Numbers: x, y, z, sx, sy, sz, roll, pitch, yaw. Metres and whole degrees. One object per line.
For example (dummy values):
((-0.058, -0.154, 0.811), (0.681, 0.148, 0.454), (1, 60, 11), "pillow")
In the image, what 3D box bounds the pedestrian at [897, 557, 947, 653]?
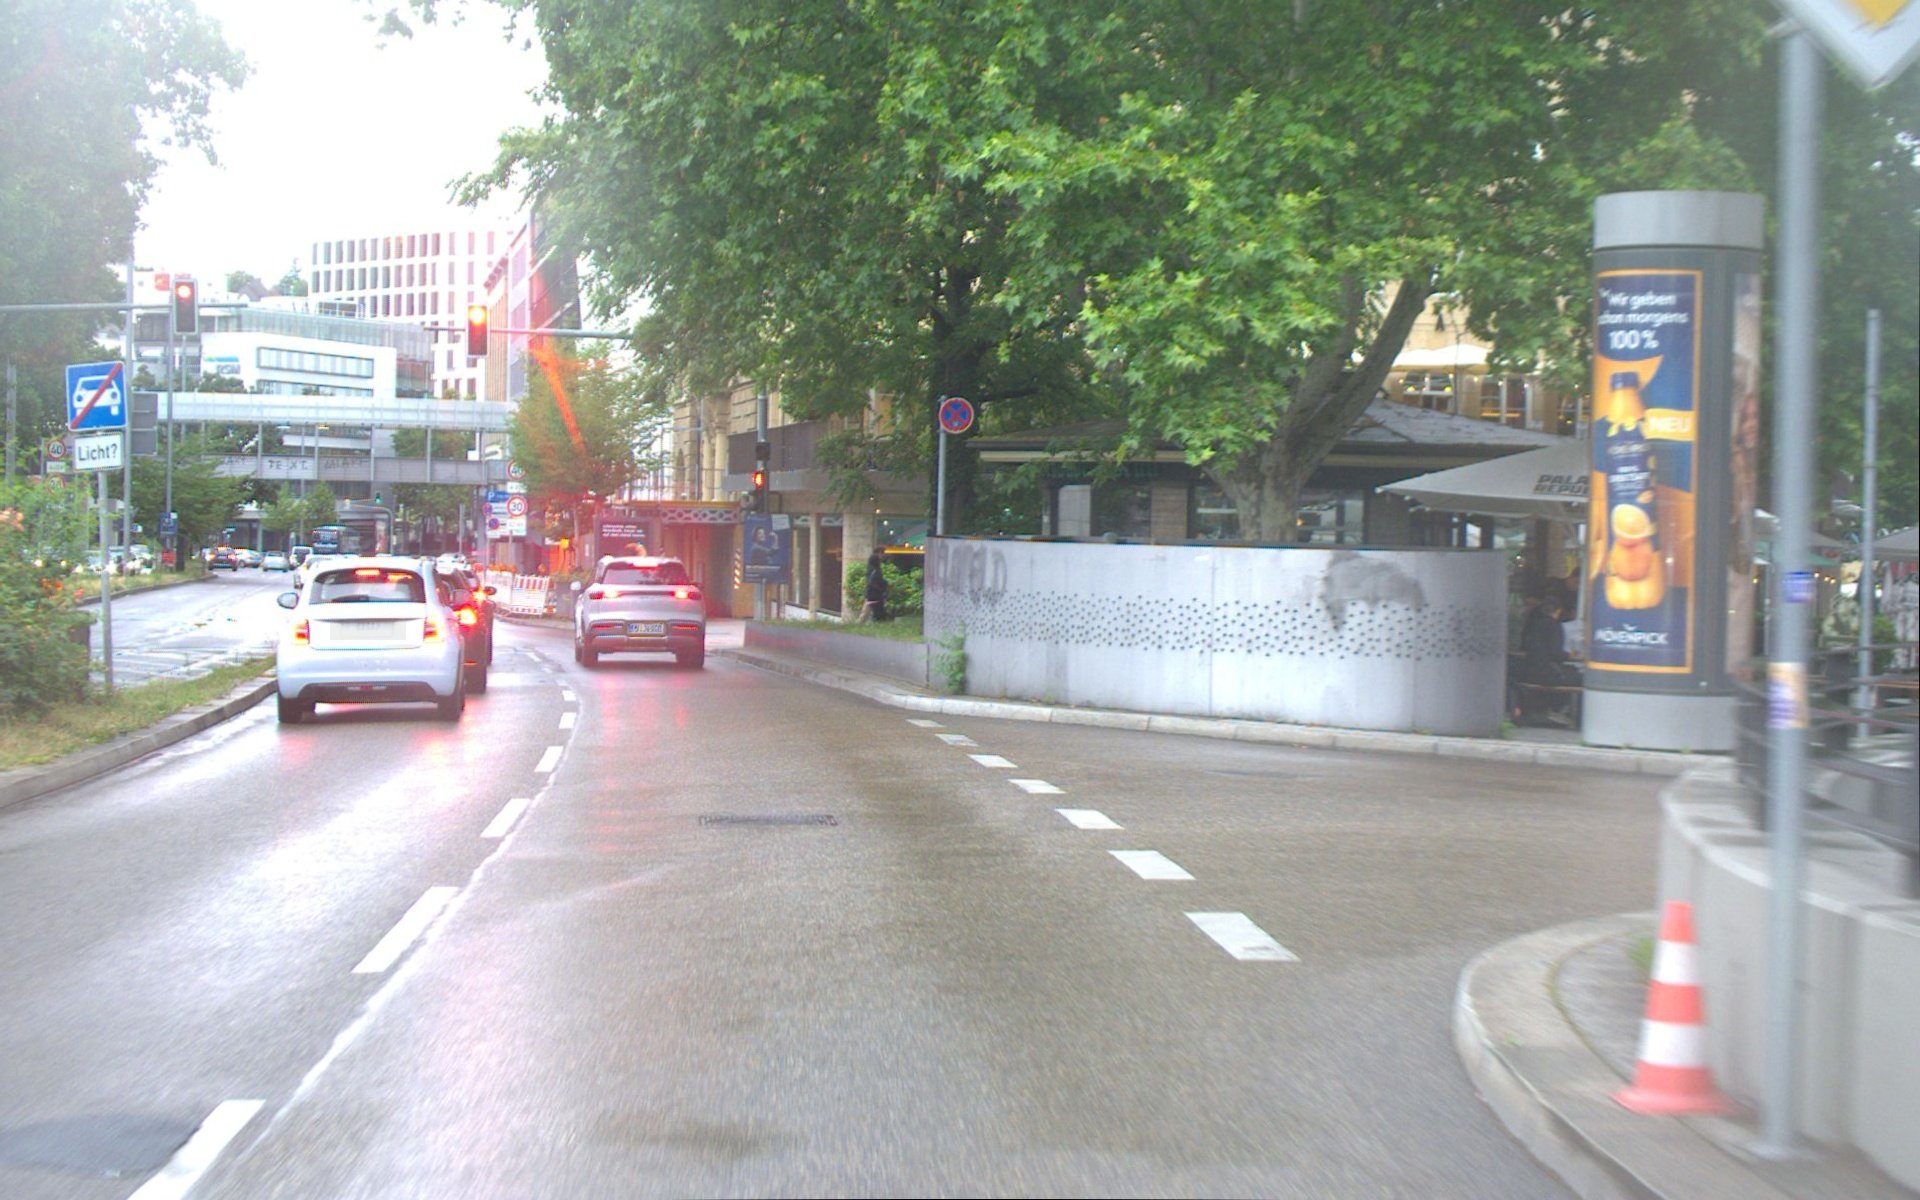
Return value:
((-0.716, 0.092, 64.395), (0.859, 1.774, 0.718), (1, 0, -4), "pedestrian")

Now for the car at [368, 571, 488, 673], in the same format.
((-8.114, 0.299, 52.209), (1.691, 1.458, 4.346), (-1, 1, -10), "car")

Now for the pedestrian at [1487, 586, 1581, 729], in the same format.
((5.866, 0.580, 35.139), (0.684, 1.405, 0.905), (4, 0, -3), "pedestrian")

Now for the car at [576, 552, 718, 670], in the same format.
((-4.792, 0.148, 52.157), (1.946, 1.660, 4.346), (2, 0, -7), "car")

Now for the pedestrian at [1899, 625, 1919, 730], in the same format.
((13.143, 1.059, 46.360), (0.607, 1.407, 0.630), (4, 0, -15), "pedestrian")

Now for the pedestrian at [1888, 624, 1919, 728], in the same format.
((13.249, 1.056, 47.290), (0.607, 1.407, 0.630), (4, 0, -15), "pedestrian")

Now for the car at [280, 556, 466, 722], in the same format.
((-5.587, 0.334, 33.017), (1.590, 1.486, 3.506), (-1, 1, -7), "car")

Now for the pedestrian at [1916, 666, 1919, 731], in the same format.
((13.116, 1.058, 45.441), (0.607, 1.407, 0.630), (4, 0, -15), "pedestrian")

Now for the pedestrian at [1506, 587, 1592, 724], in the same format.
((6.261, 0.588, 36.546), (0.684, 1.405, 0.660), (4, 0, -3), "pedestrian")

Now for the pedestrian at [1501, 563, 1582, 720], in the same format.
((6.365, 0.451, 37.613), (0.723, 1.696, 0.617), (1, 0, 24), "pedestrian")

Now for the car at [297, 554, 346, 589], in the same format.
((-27.144, -1.220, 146.206), (1.978, 1.458, 4.346), (-1, 1, -10), "car")

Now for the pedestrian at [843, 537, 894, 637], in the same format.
((-1.652, -0.235, 61.919), (0.859, 1.774, 0.718), (1, 0, -4), "pedestrian")

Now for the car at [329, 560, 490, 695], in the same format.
((-6.329, 0.275, 39.819), (1.691, 1.458, 4.131), (-1, 1, -7), "car")
